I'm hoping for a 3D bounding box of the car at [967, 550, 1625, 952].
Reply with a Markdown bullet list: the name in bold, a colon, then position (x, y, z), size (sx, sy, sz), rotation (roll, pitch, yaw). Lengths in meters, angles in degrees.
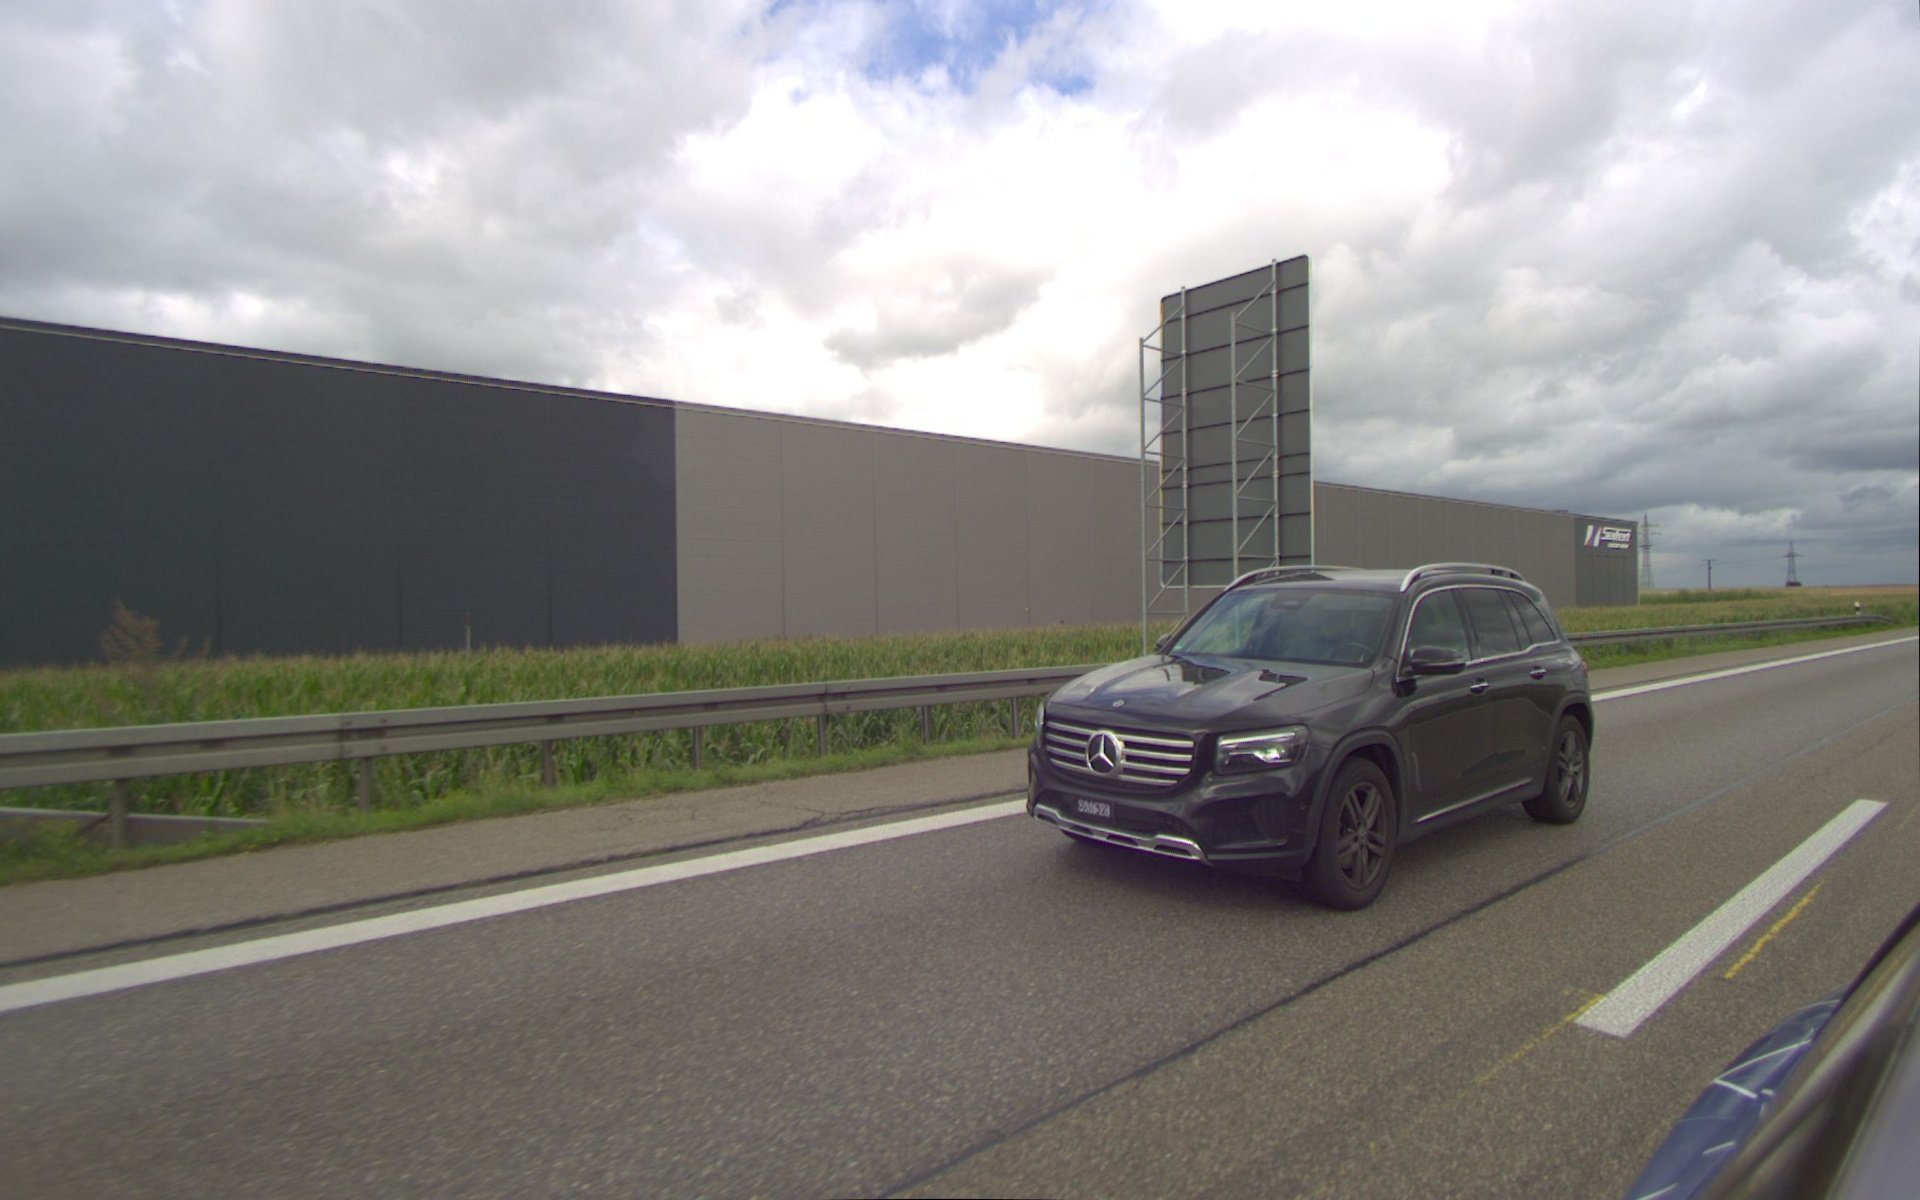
- **car**: position (2.265, 0.566, 6.176), size (4.283, 1.629, 1.837), rotation (-1, 1, -40)
